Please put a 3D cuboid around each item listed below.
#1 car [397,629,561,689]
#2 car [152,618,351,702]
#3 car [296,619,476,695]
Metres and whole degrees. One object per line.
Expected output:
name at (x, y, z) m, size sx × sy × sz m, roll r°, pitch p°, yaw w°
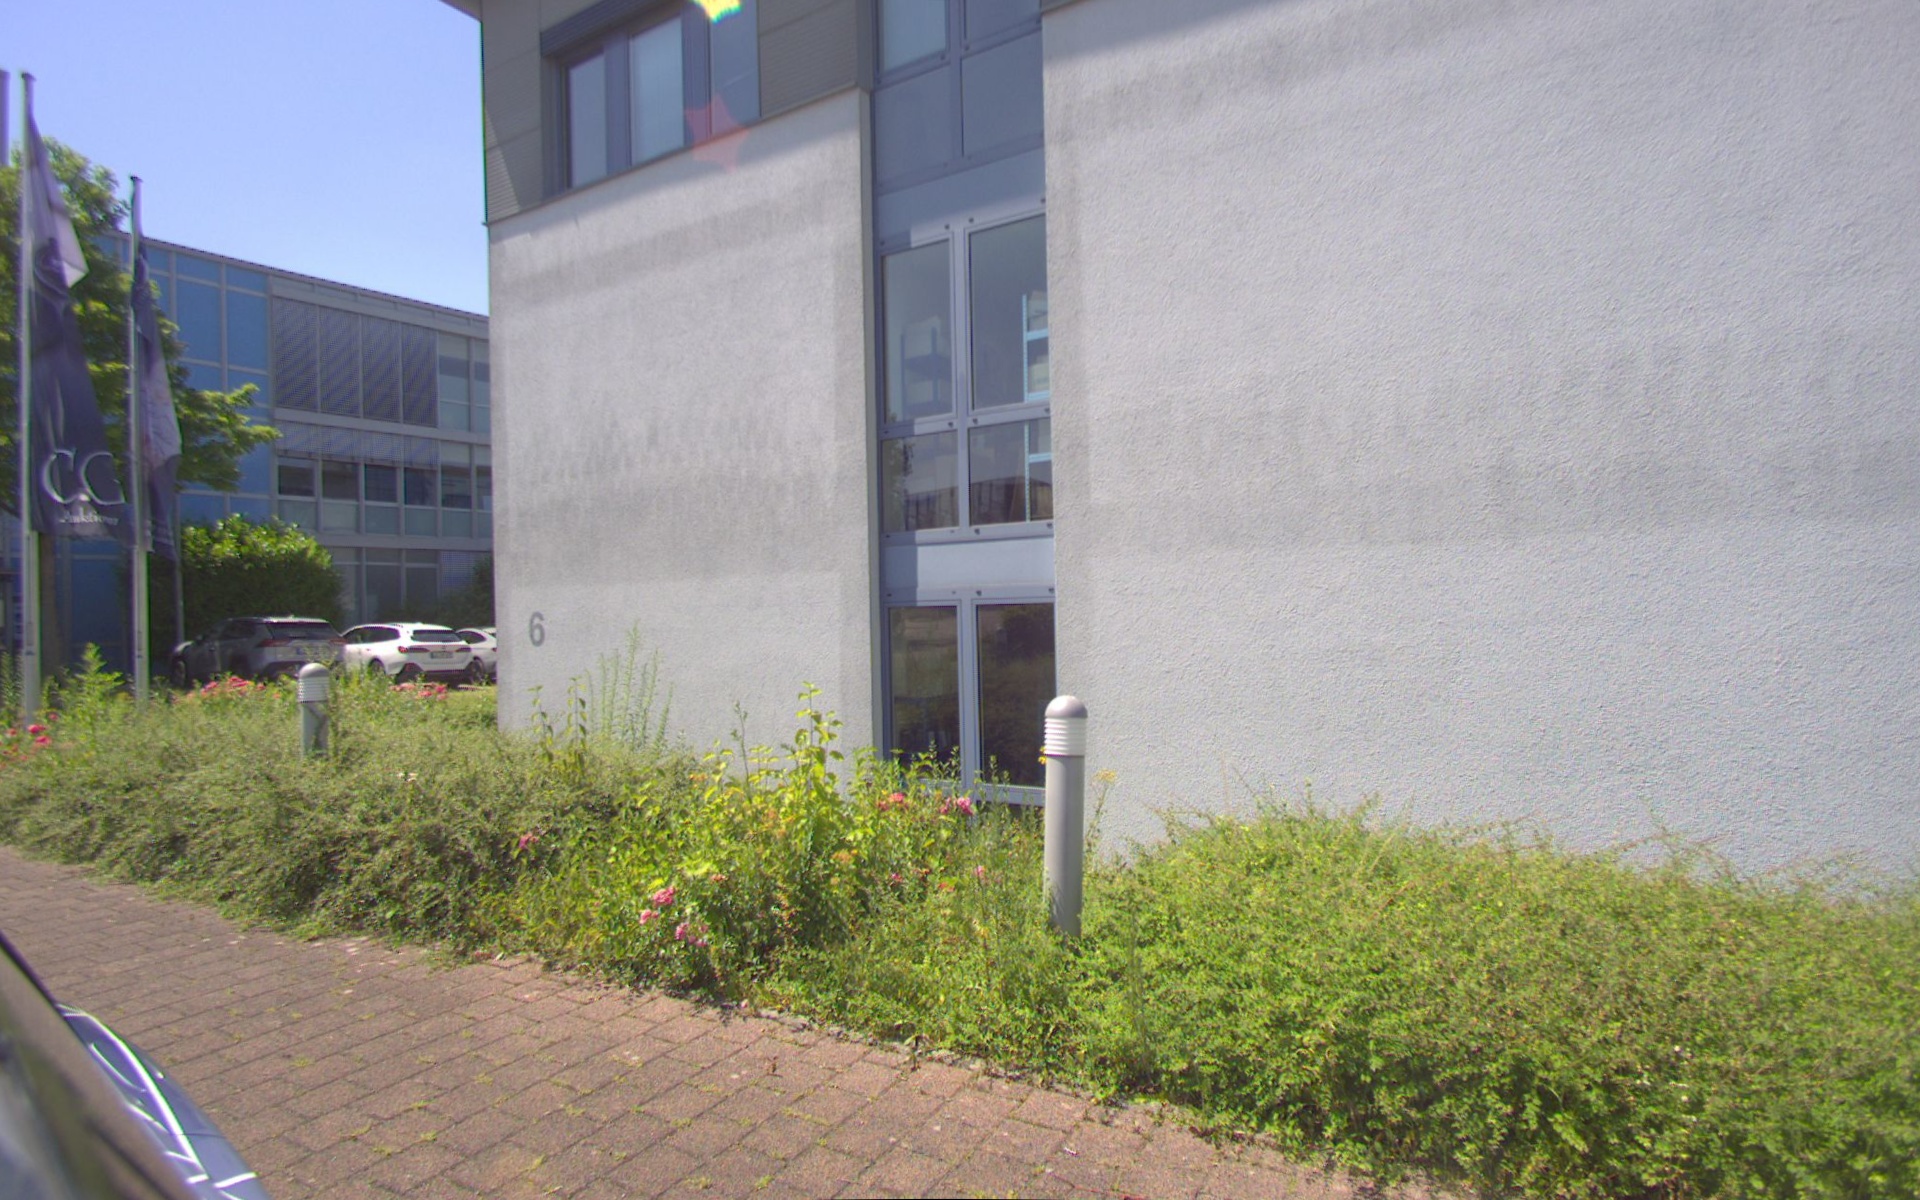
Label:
car at (-12.249, 1.454, 25.734) m, size 4.155 × 1.411 × 1.735 m, roll -1°, pitch -2°, yaw 30°
car at (-15.137, 1.223, 21.601) m, size 4.152 × 1.650 × 1.816 m, roll -1°, pitch -2°, yaw 28°
car at (-13.446, 1.281, 23.680) m, size 4.155 × 1.650 × 1.815 m, roll -1°, pitch -2°, yaw 30°
